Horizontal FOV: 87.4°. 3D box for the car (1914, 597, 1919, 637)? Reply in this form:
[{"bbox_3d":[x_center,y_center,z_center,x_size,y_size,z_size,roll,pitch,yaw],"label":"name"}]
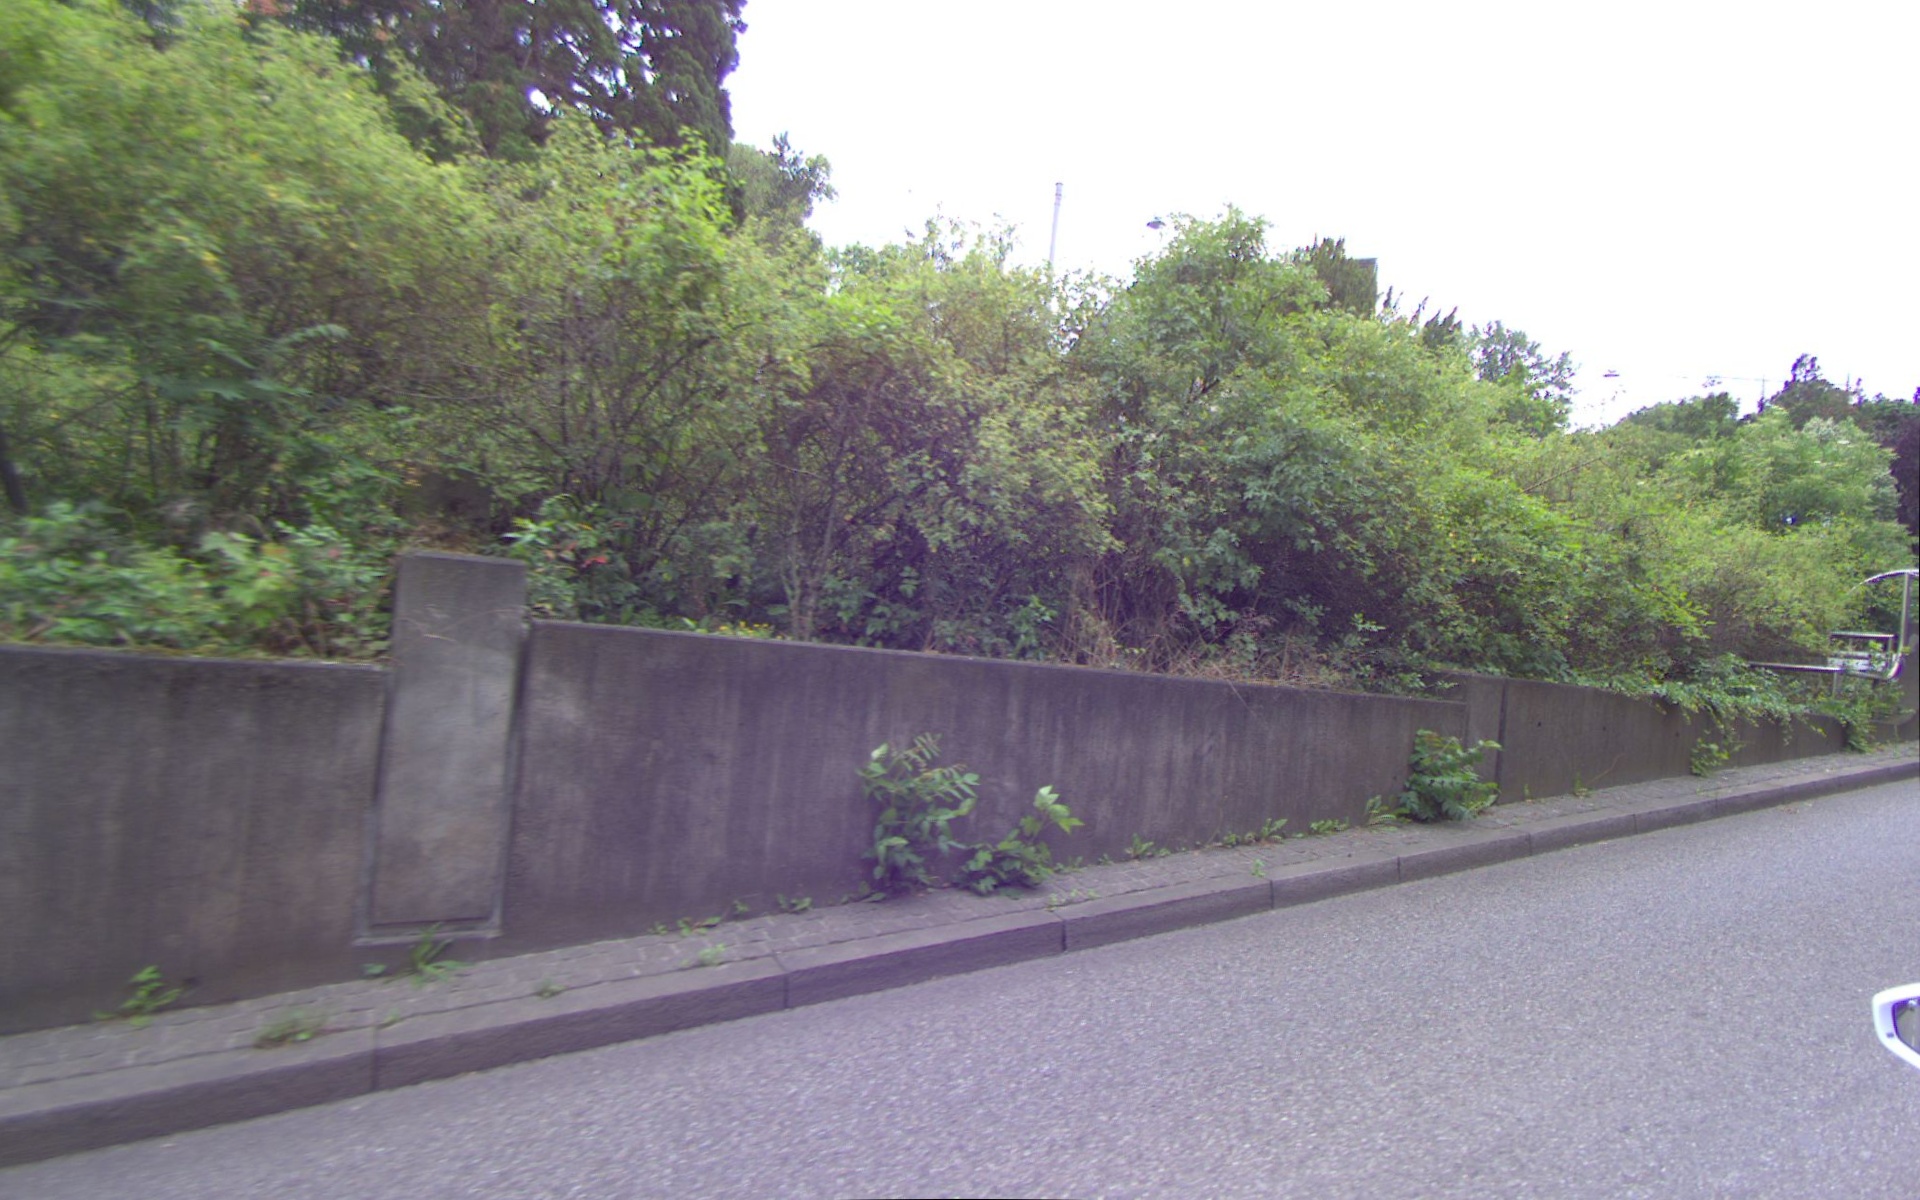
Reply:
[{"bbox_3d":[37.695,0.731,37.175,2.214,1.539,4.302,7,2,27],"label":"car"}]
